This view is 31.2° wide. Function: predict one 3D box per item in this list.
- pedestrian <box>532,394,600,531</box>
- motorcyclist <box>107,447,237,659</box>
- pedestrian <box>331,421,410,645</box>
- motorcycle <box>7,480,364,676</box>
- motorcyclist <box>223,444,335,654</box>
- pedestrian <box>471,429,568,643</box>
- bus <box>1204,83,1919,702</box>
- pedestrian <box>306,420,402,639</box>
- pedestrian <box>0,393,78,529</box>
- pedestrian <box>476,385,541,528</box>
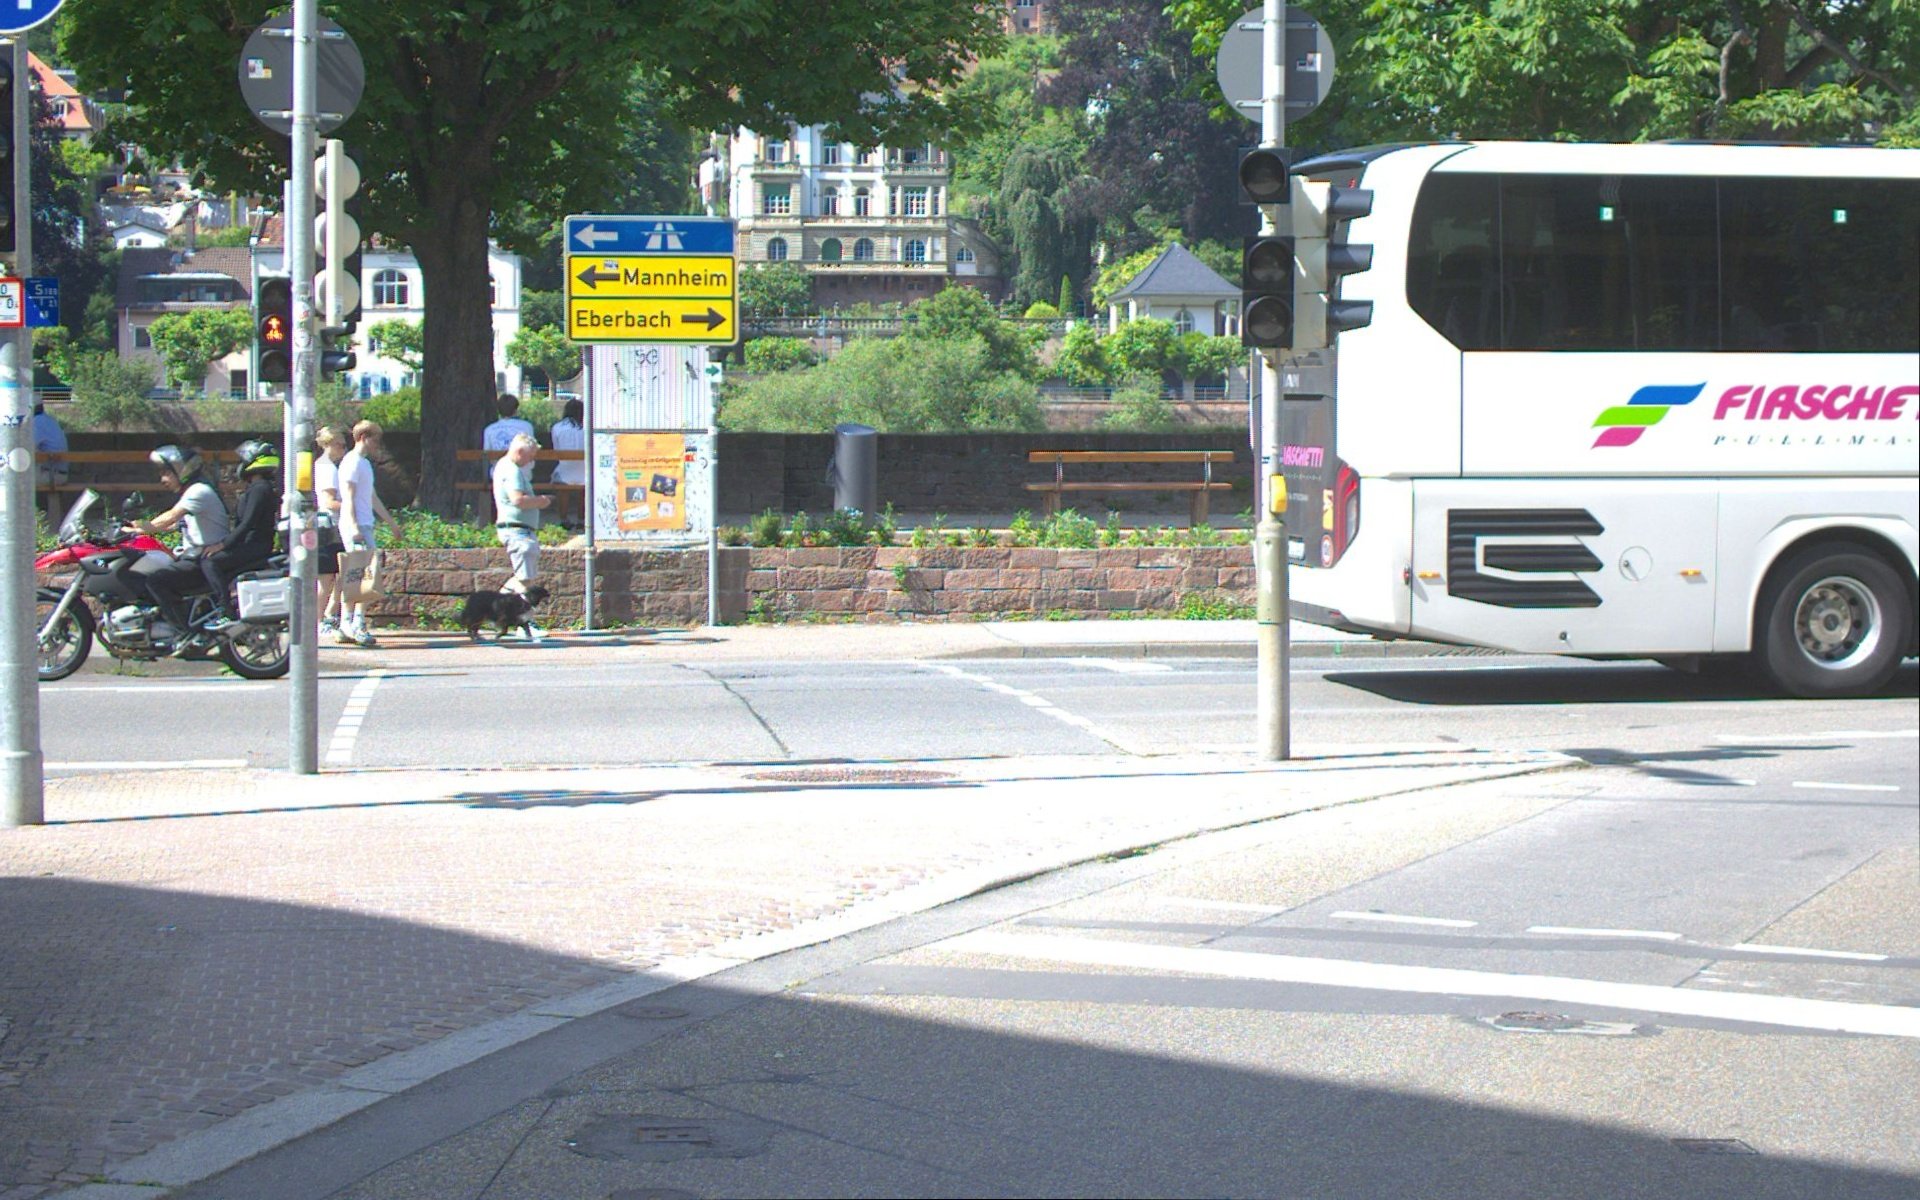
[{"bbox_3d":[-3.738,-1.294,32.553,0.553,1.224,0.986,2,-1,-9],"label":"pedestrian"},{"bbox_3d":[-5.648,-0.348,24.680,0.871,1.489,0.819,-1,2,-12],"label":"motorcyclist"},{"bbox_3d":[-4.787,-0.550,27.934,0.578,1.795,0.705,0,2,-6],"label":"pedestrian"},{"bbox_3d":[-5.547,-0.172,24.721,2.462,1.371,0.764,0,2,-11],"label":"motorcycle"},{"bbox_3d":[-4.918,-0.378,24.836,0.770,1.488,0.819,0,2,-12],"label":"motorcyclist"},{"bbox_3d":[-3.709,-0.538,28.930,0.688,1.763,0.718,-1,1,-15],"label":"pedestrian"},{"bbox_3d":[7.938,-1.315,23.545,12.136,3.775,2.908,0,2,-11],"label":"bus"},{"bbox_3d":[-5.049,-0.589,28.677,0.721,1.795,0.634,-1,1,-6],"label":"pedestrian"},{"bbox_3d":[-8.384,-1.260,31.276,0.641,1.224,0.414,-1,2,-20],"label":"pedestrian"},{"bbox_3d":[-4.210,-1.330,32.028,0.553,1.275,0.704,2,-1,-8],"label":"pedestrian"}]
